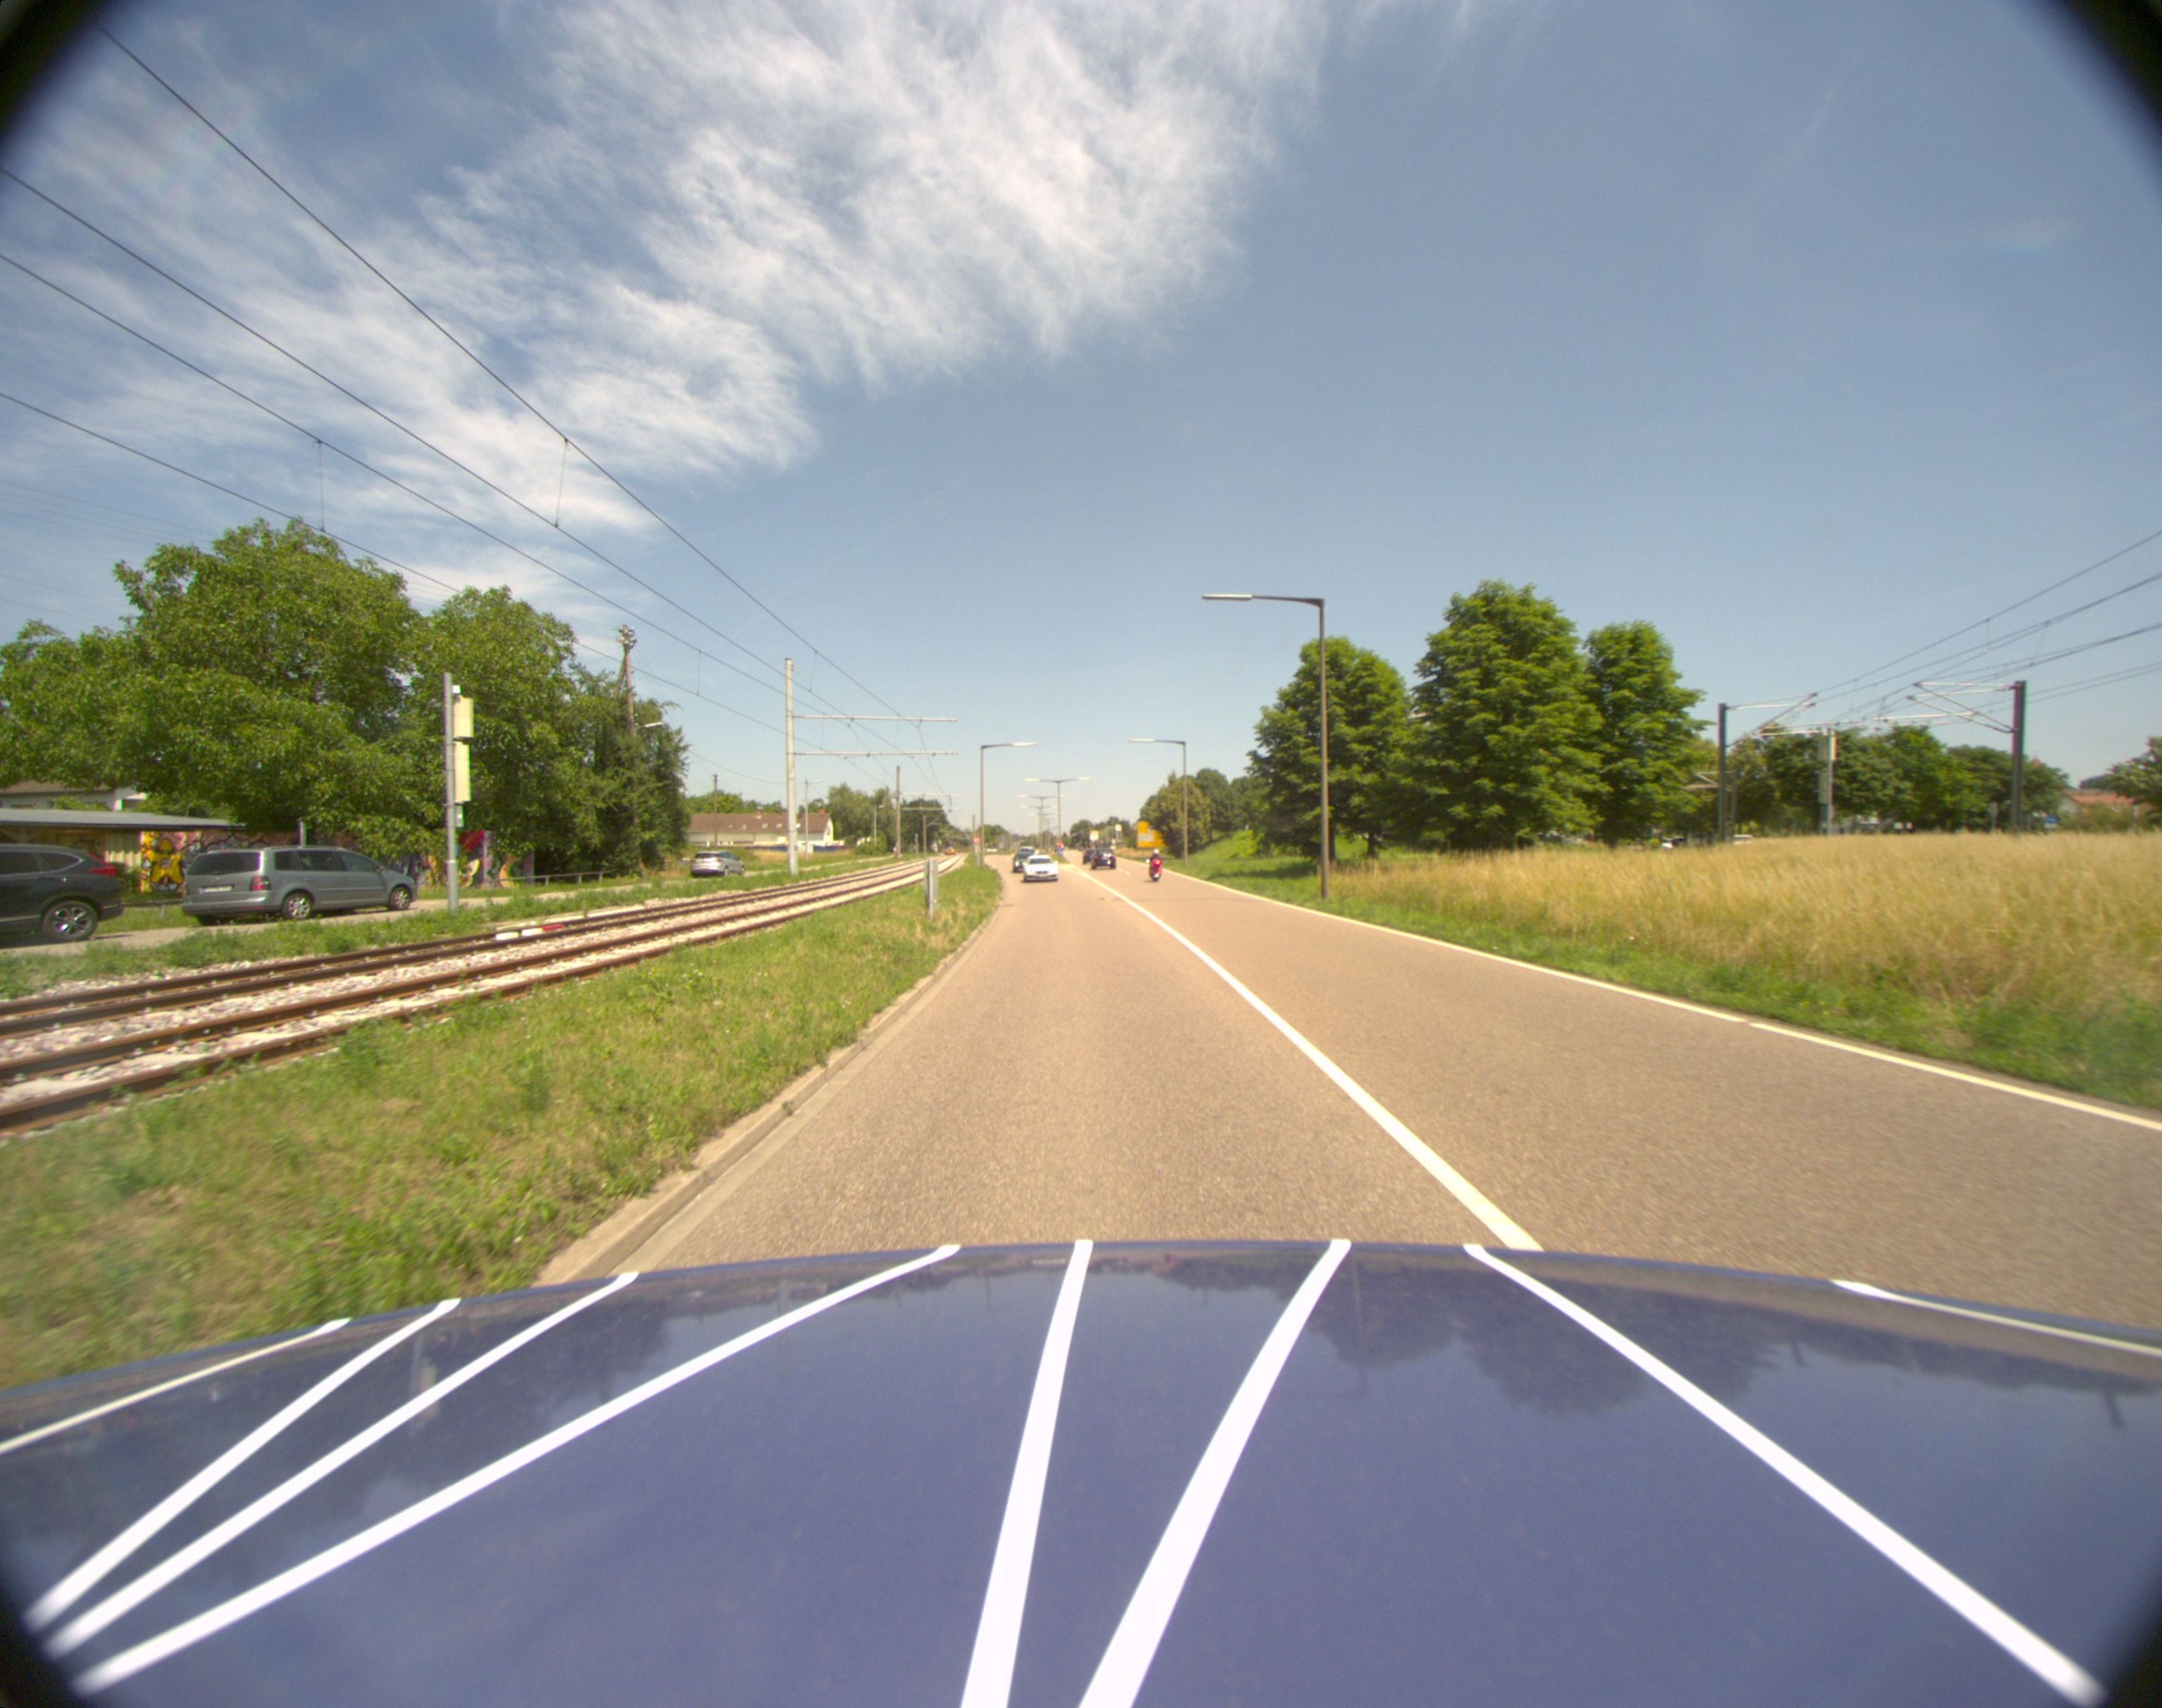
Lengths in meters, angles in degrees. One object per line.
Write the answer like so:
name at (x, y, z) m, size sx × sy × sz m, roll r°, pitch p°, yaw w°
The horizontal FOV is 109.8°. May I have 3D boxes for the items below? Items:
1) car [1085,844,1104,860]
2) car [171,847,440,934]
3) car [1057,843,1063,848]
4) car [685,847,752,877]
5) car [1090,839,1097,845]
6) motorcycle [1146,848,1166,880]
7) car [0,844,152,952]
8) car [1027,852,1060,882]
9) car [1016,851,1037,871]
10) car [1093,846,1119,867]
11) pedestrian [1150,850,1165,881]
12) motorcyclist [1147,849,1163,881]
car at (1.355, -0.219, 77.453) m, size 1.826 × 1.563 × 4.110 m, roll -1°, pitch 2°, yaw -1°
car at (-17.624, 0.717, 17.698) m, size 1.681 × 1.615 × 4.707 m, roll -1°, pitch 2°, yaw -5°
car at (-6.216, -2.506, 226.478) m, size 1.619 × 1.387 × 3.597 m, roll -1°, pitch 2°, yaw -6°
car at (-19.318, 0.386, 40.729) m, size 1.685 × 1.406 × 4.546 m, roll -1°, pitch 2°, yaw -4°
car at (3.953, -3.806, 241.049) m, size 1.653 × 1.577 × 3.817 m, roll -1°, pitch 2°, yaw -4°
motorcycle at (3.748, 0.517, 38.309) m, size 0.706 × 1.577 × 2.147 m, roll -1°, pitch -1°, yaw -2°
car at (-17.726, 0.730, 11.343) m, size 1.833 × 1.647 × 4.813 m, roll -1°, pitch 2°, yaw -2°
car at (-2.108, 0.707, 42.741) m, size 1.772 × 1.434 × 4.126 m, roll -1°, pitch 2°, yaw -3°
car at (-4.171, 0.507, 58.157) m, size 1.510 × 1.424 × 3.355 m, roll -1°, pitch 2°, yaw -5°
car at (1.957, 0.204, 60.774) m, size 1.831 × 1.592 × 4.483 m, roll -1°, pitch 0°, yaw -2°
pedestrian at (3.792, 0.577, 37.610) m, size 0.644 × 1.527 × 0.577 m, roll -1°, pitch 0°, yaw -2°
motorcyclist at (3.756, 0.557, 38.449) m, size 0.690 × 1.576 × 0.670 m, roll -1°, pitch -1°, yaw -3°
